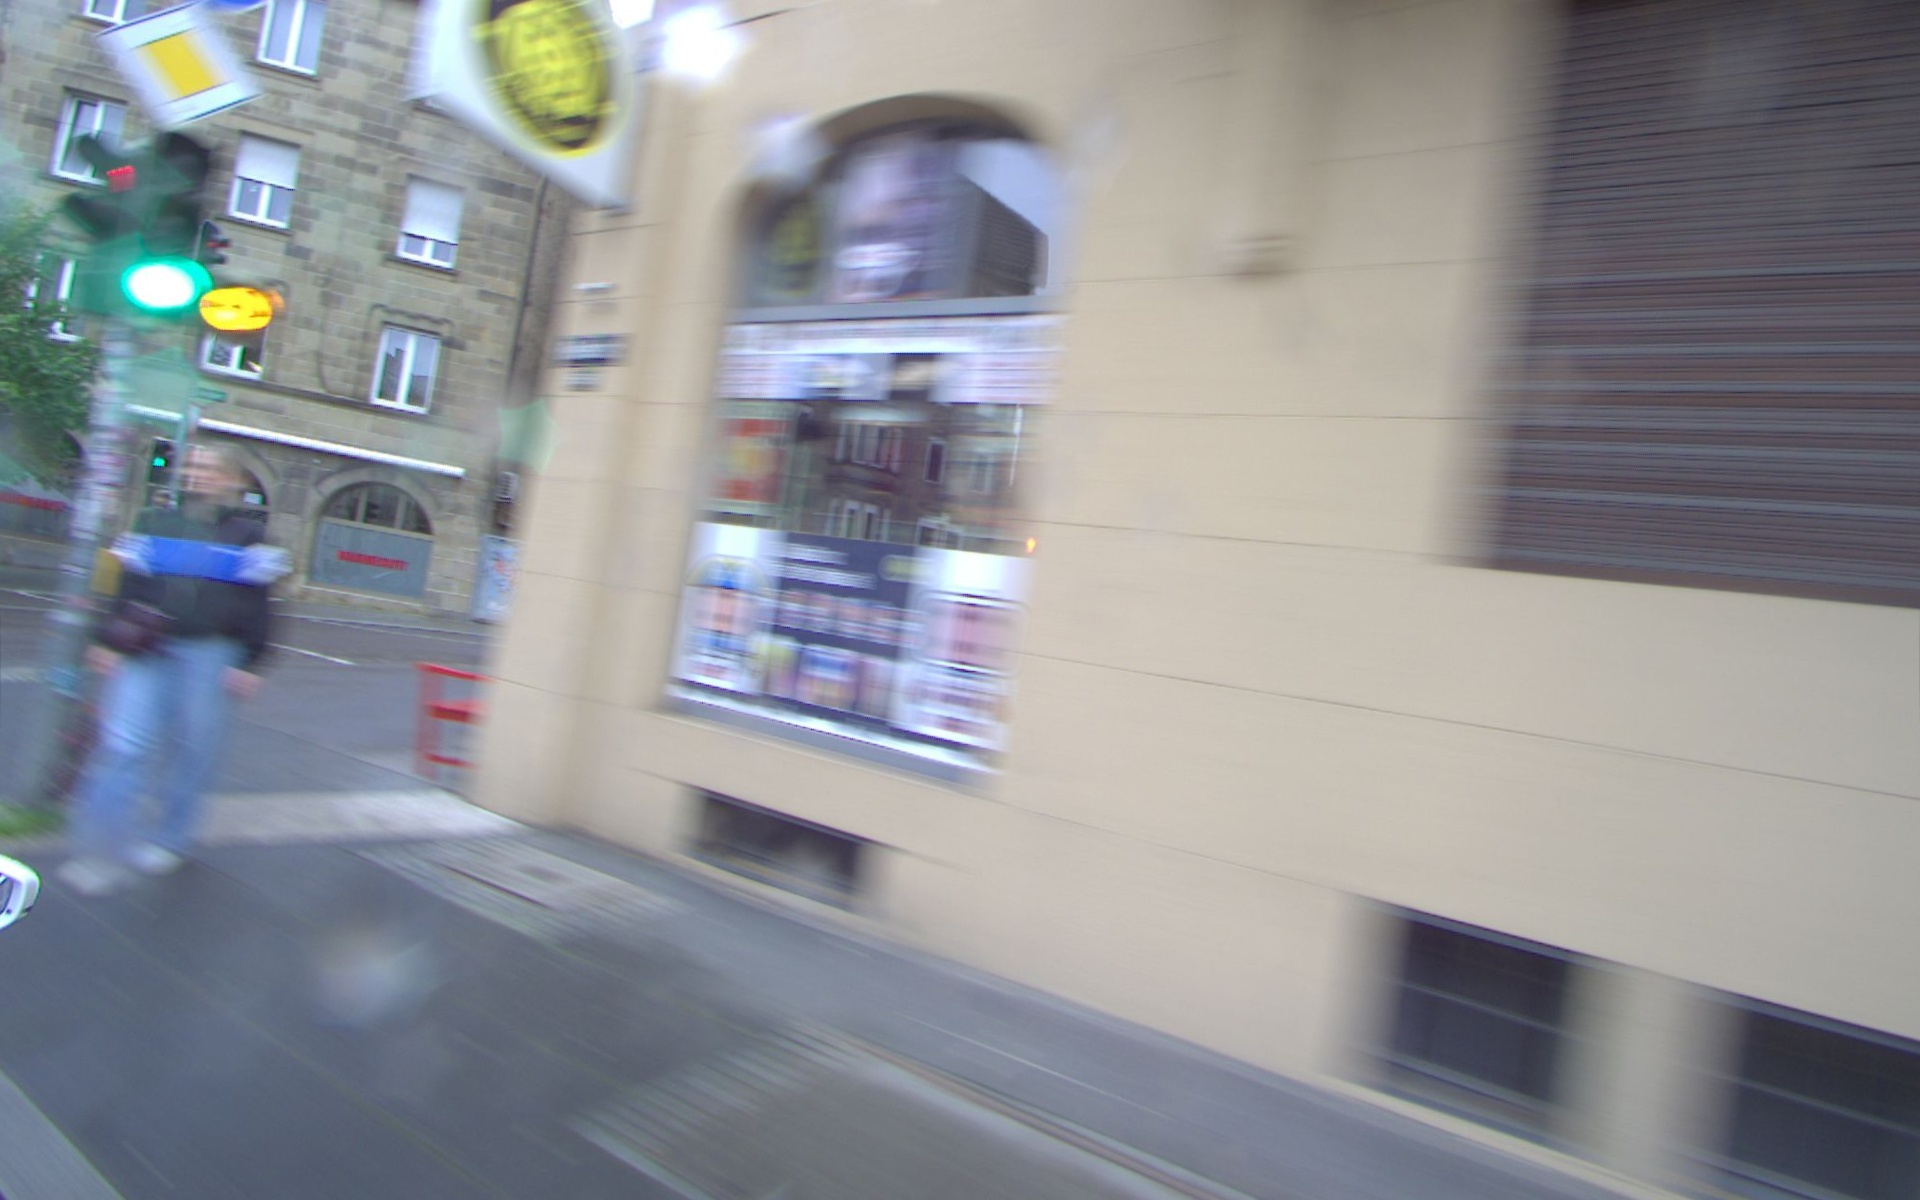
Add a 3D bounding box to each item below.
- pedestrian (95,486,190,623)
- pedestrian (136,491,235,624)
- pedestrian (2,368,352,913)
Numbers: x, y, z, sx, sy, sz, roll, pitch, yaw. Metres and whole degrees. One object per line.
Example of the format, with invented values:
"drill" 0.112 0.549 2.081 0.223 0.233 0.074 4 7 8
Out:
"pedestrian" -11.510 -0.633 14.169 0.875 1.810 0.595 6 0 28
"pedestrian" -11.297 -0.615 14.679 0.886 1.810 0.683 6 0 28
"pedestrian" -3.104 0.153 4.075 0.894 1.864 0.959 5 1 -36
